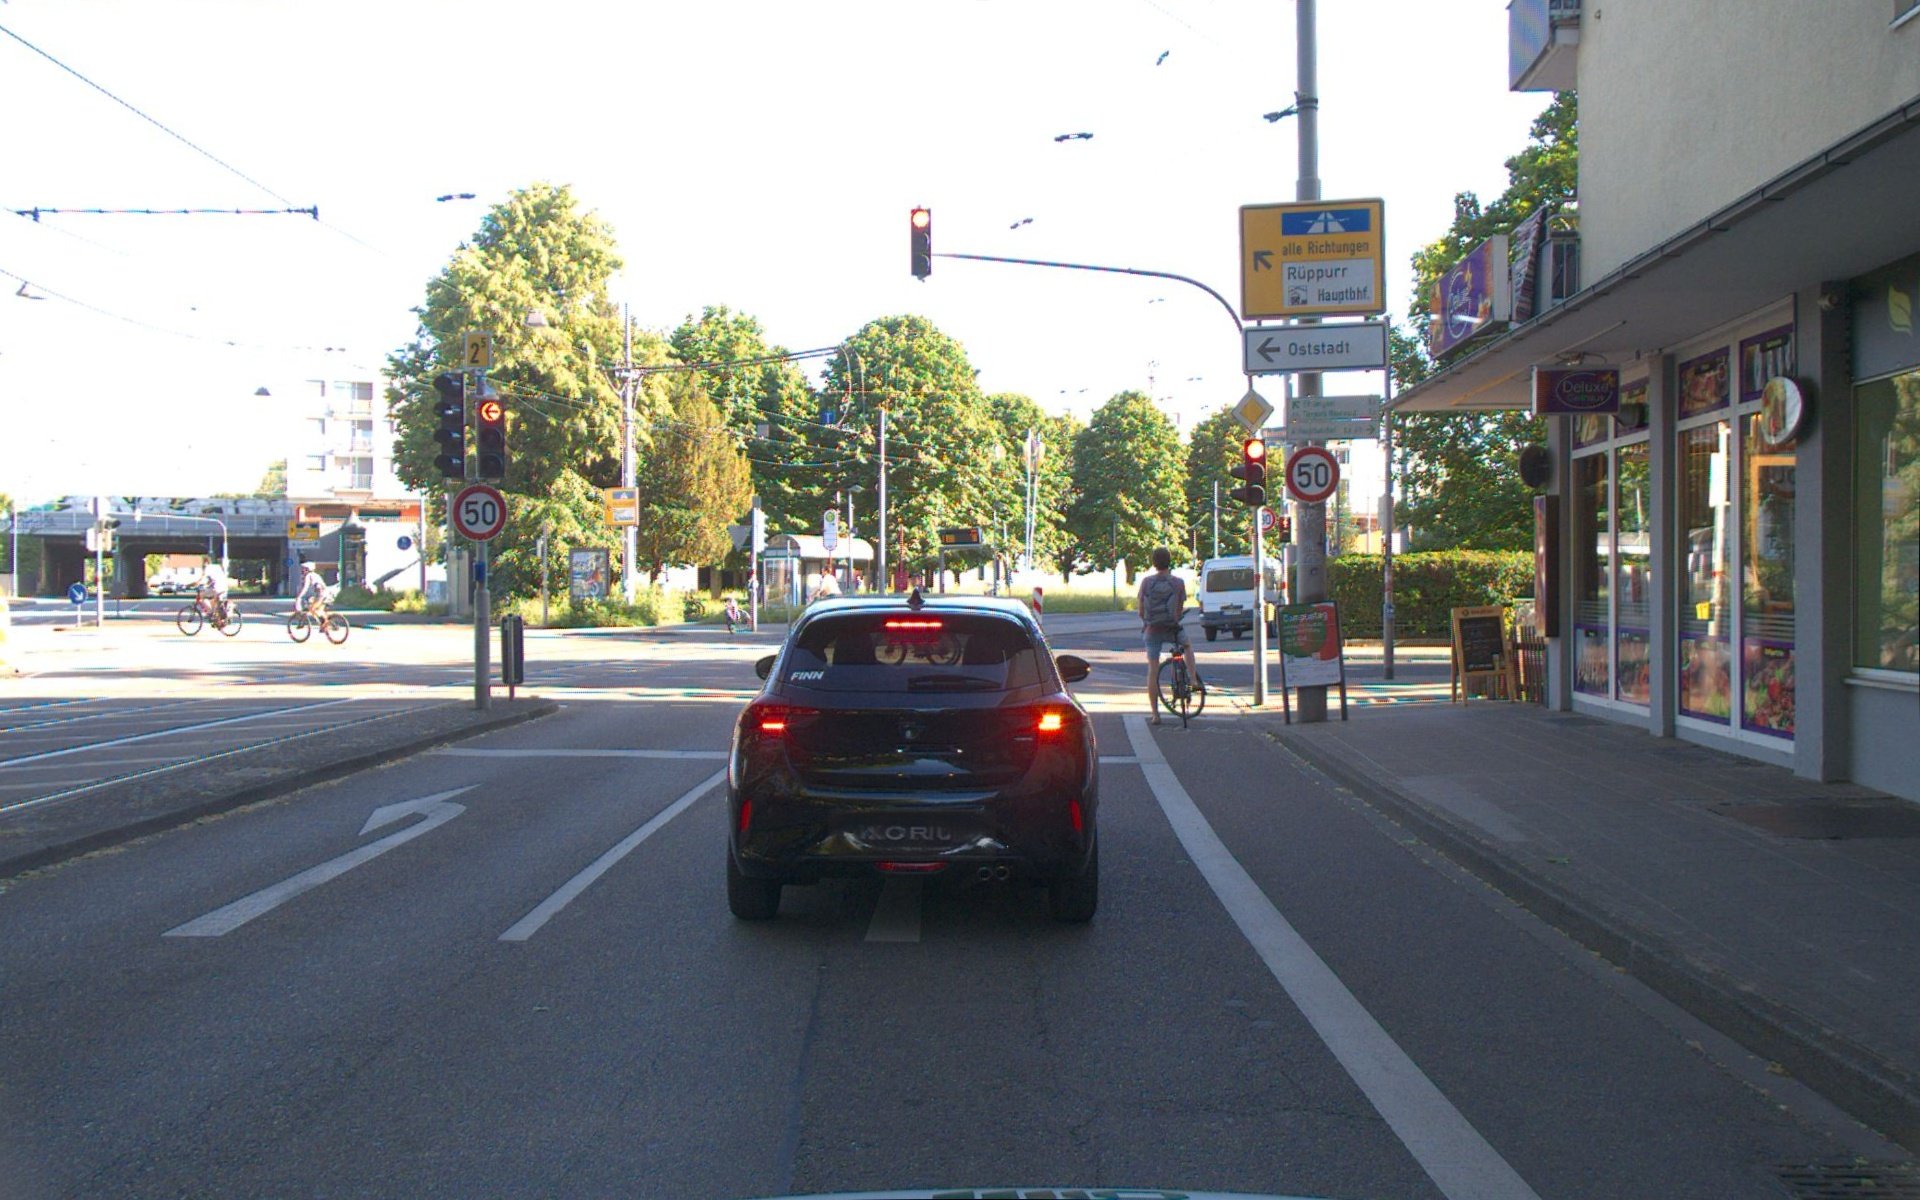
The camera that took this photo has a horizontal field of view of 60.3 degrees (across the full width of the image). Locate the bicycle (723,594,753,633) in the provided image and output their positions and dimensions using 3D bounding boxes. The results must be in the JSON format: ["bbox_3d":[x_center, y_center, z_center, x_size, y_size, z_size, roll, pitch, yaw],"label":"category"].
[{"bbox_3d":[-6.212,0.378,46.381,0.593,1.049,1.982,0,1,-1],"label":"bicycle"}]

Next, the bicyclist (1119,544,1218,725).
[{"bbox_3d":[2.221,0.354,17.737,0.922,1.883,0.864,-1,0,-1],"label":"bicyclist"}]

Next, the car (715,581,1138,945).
[{"bbox_3d":[-0.155,0.645,8.765,1.692,1.454,4.186,1,0,-1],"label":"car"}]

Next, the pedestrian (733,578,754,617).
[{"bbox_3d":[-9.384,-0.097,71.714,0.735,1.658,0.598,1,0,6],"label":"pedestrian"}]

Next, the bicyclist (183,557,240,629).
[{"bbox_3d":[-18.157,-0.168,40.132,0.907,1.737,0.876,0,0,11],"label":"bicyclist"}]

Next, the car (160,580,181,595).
[{"bbox_3d":[-94.889,-1.511,198.747,2.186,1.855,4.112,-1,1,-26],"label":"car"}]

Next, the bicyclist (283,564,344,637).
[{"bbox_3d":[-14.470,0.011,37.059,0.988,1.598,0.800,0,0,10],"label":"bicyclist"}]

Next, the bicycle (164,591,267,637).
[{"bbox_3d":[-18.052,0.333,40.113,2.244,1.103,0.801,0,0,12],"label":"bicycle"}]

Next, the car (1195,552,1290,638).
[{"bbox_3d":[8.018,-0.161,46.586,2.020,2.288,4.890,0,1,17],"label":"car"}]

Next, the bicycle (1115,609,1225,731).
[{"bbox_3d":[2.220,0.711,17.755,0.842,1.173,2.171,-1,1,-1],"label":"bicycle"}]

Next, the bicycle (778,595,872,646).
[{"bbox_3d":[-2.995,0.448,36.711,2.012,1.113,0.592,0,0,21],"label":"bicycle"}]

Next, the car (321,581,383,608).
[{"bbox_3d":[-42.952,-0.422,116.849,4.116,1.836,1.725,-1,1,-22],"label":"car"}]

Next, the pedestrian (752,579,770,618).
[{"bbox_3d":[-8.647,-0.073,71.846,0.623,1.658,0.572,1,0,6],"label":"pedestrian"}]

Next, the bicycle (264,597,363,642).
[{"bbox_3d":[-14.488,0.437,37.065,2.014,1.001,0.673,0,0,10],"label":"bicycle"}]

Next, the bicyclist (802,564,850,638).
[{"bbox_3d":[-2.967,0.025,36.655,0.843,1.623,0.649,0,0,21],"label":"bicyclist"}]

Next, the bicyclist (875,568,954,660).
[{"bbox_3d":[-0.792,0.227,28.544,1.098,1.547,0.915,-1,0,-24],"label":"bicyclist"}]

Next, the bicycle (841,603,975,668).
[{"bbox_3d":[-0.892,0.597,28.512,2.162,1.051,0.828,-1,0,-24],"label":"bicycle"}]
